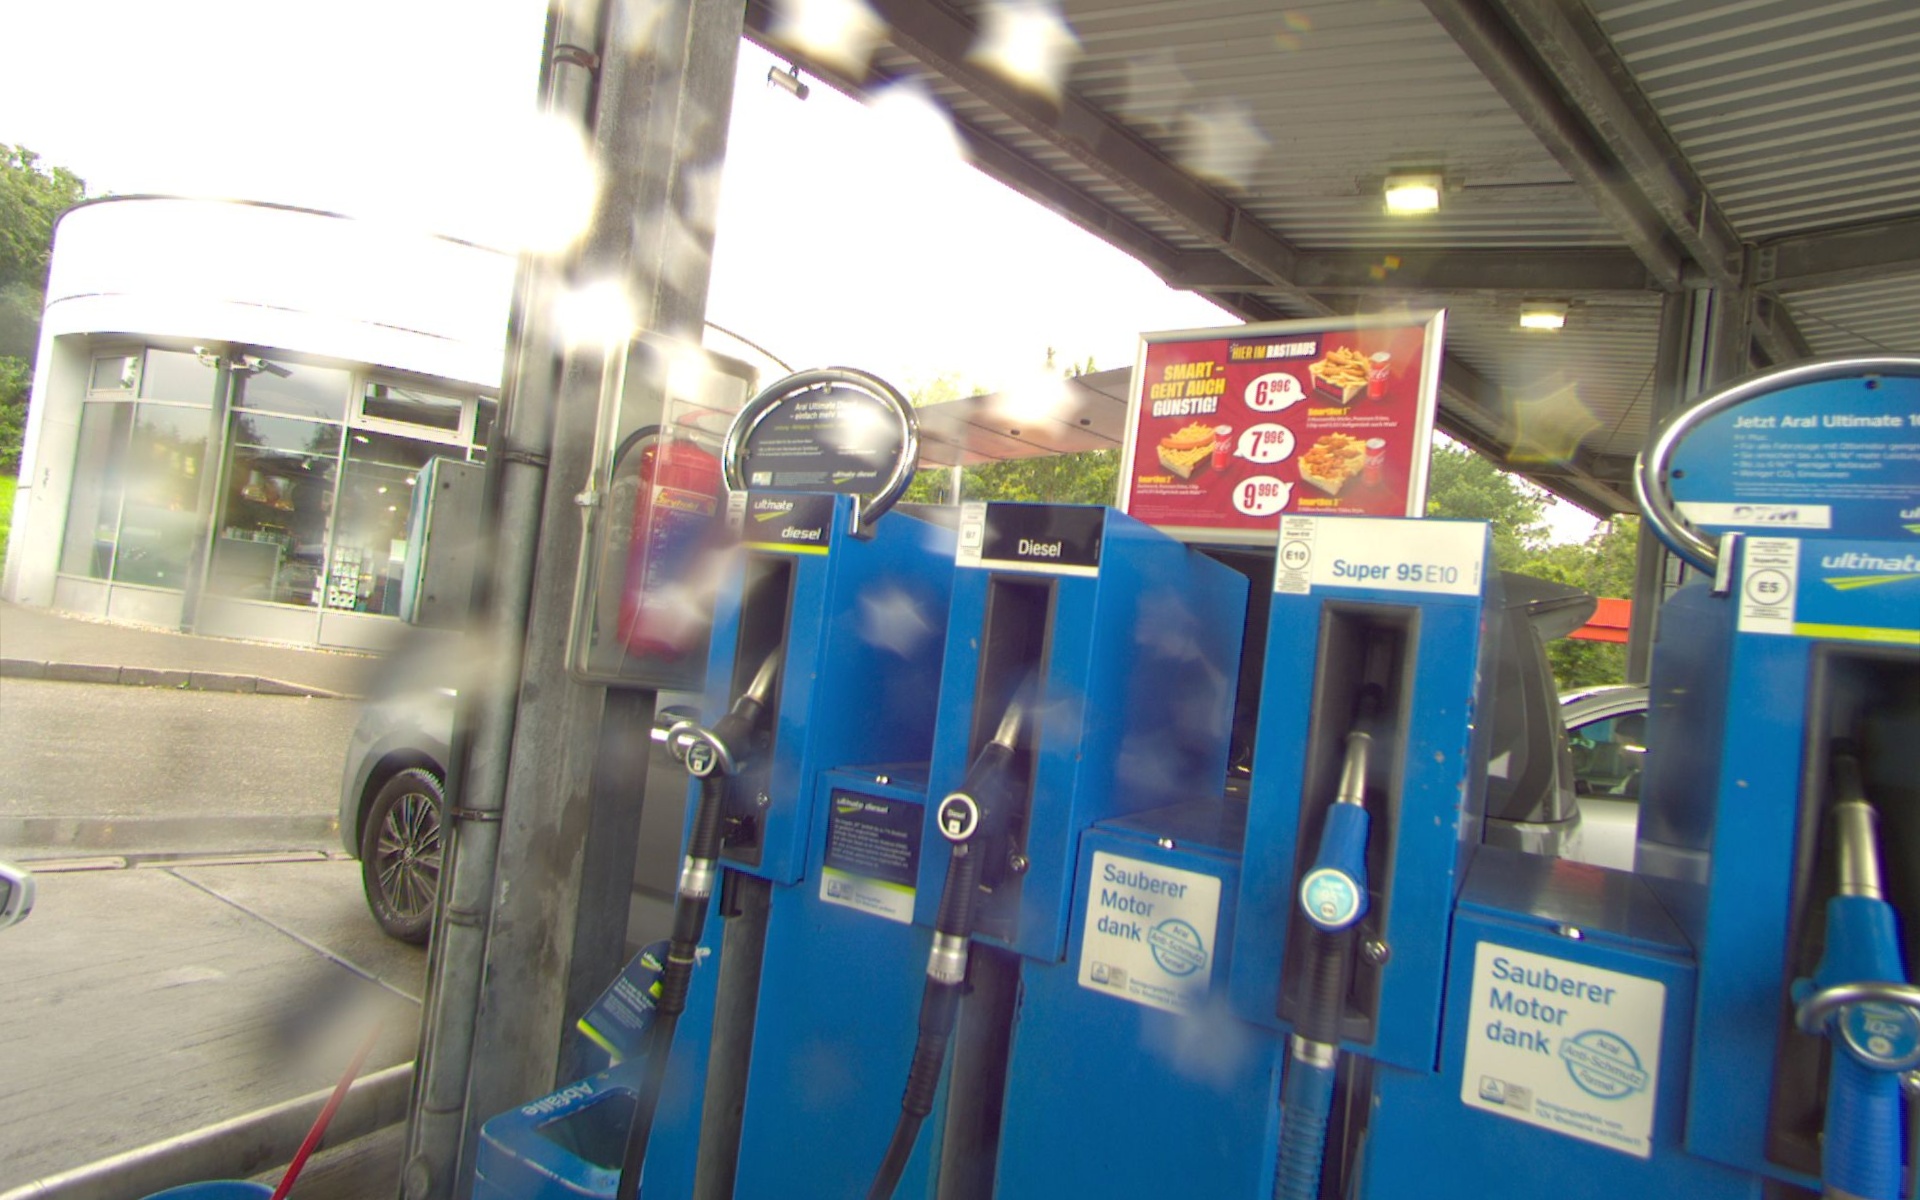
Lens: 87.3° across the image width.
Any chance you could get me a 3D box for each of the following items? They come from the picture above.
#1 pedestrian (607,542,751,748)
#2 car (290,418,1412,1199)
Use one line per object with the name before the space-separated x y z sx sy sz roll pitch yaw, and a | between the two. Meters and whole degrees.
pedestrian | -2.842 0.450 10.194 0.991 1.917 0.716 7 0 34
car | -0.572 0.497 3.978 3.934 1.971 1.819 7 -1 32
